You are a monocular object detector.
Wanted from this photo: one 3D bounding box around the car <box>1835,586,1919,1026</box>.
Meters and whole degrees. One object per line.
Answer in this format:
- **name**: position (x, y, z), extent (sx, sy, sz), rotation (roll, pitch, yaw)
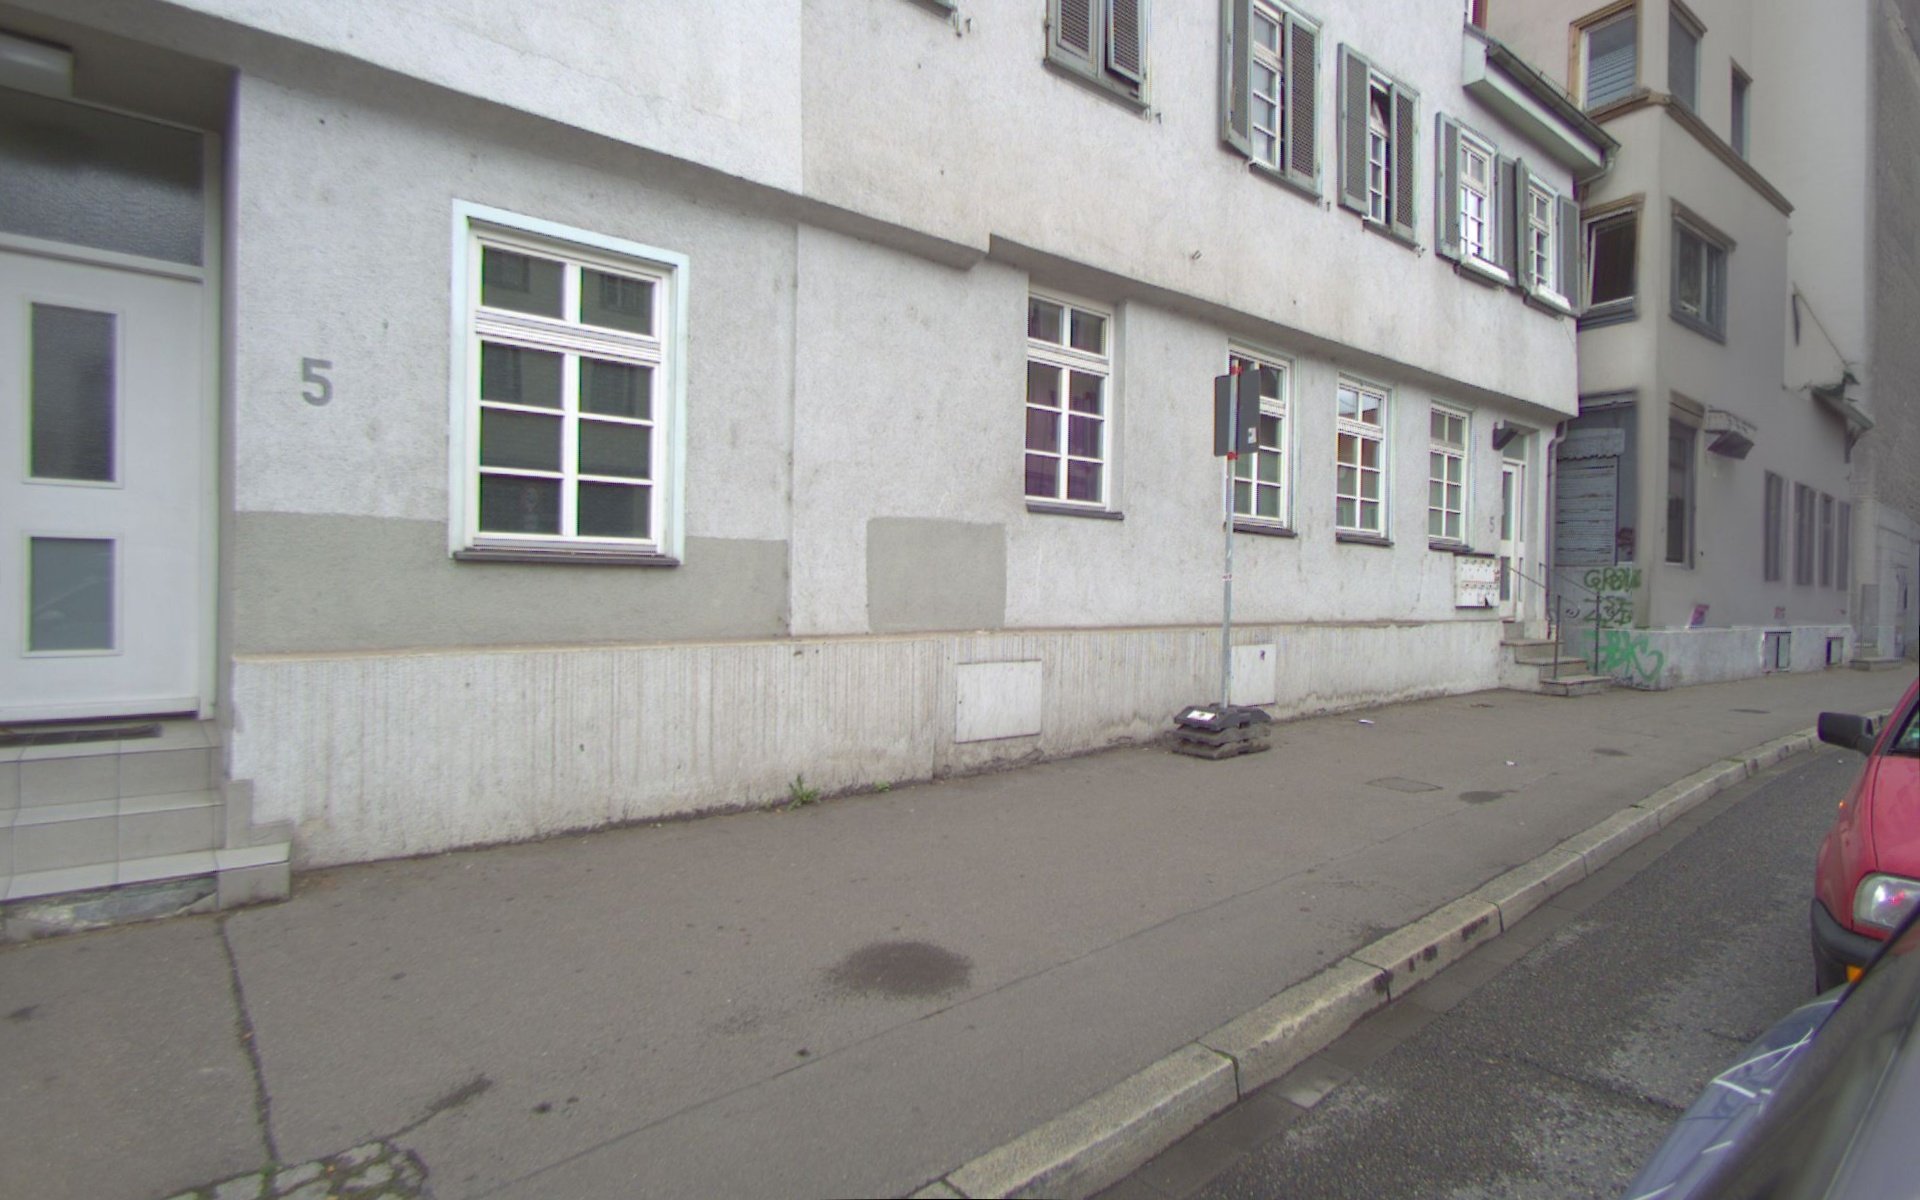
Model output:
- **car**: position (5.066, 0.693, 4.142), extent (3.950, 1.445, 1.684), rotation (0, 1, -41)
